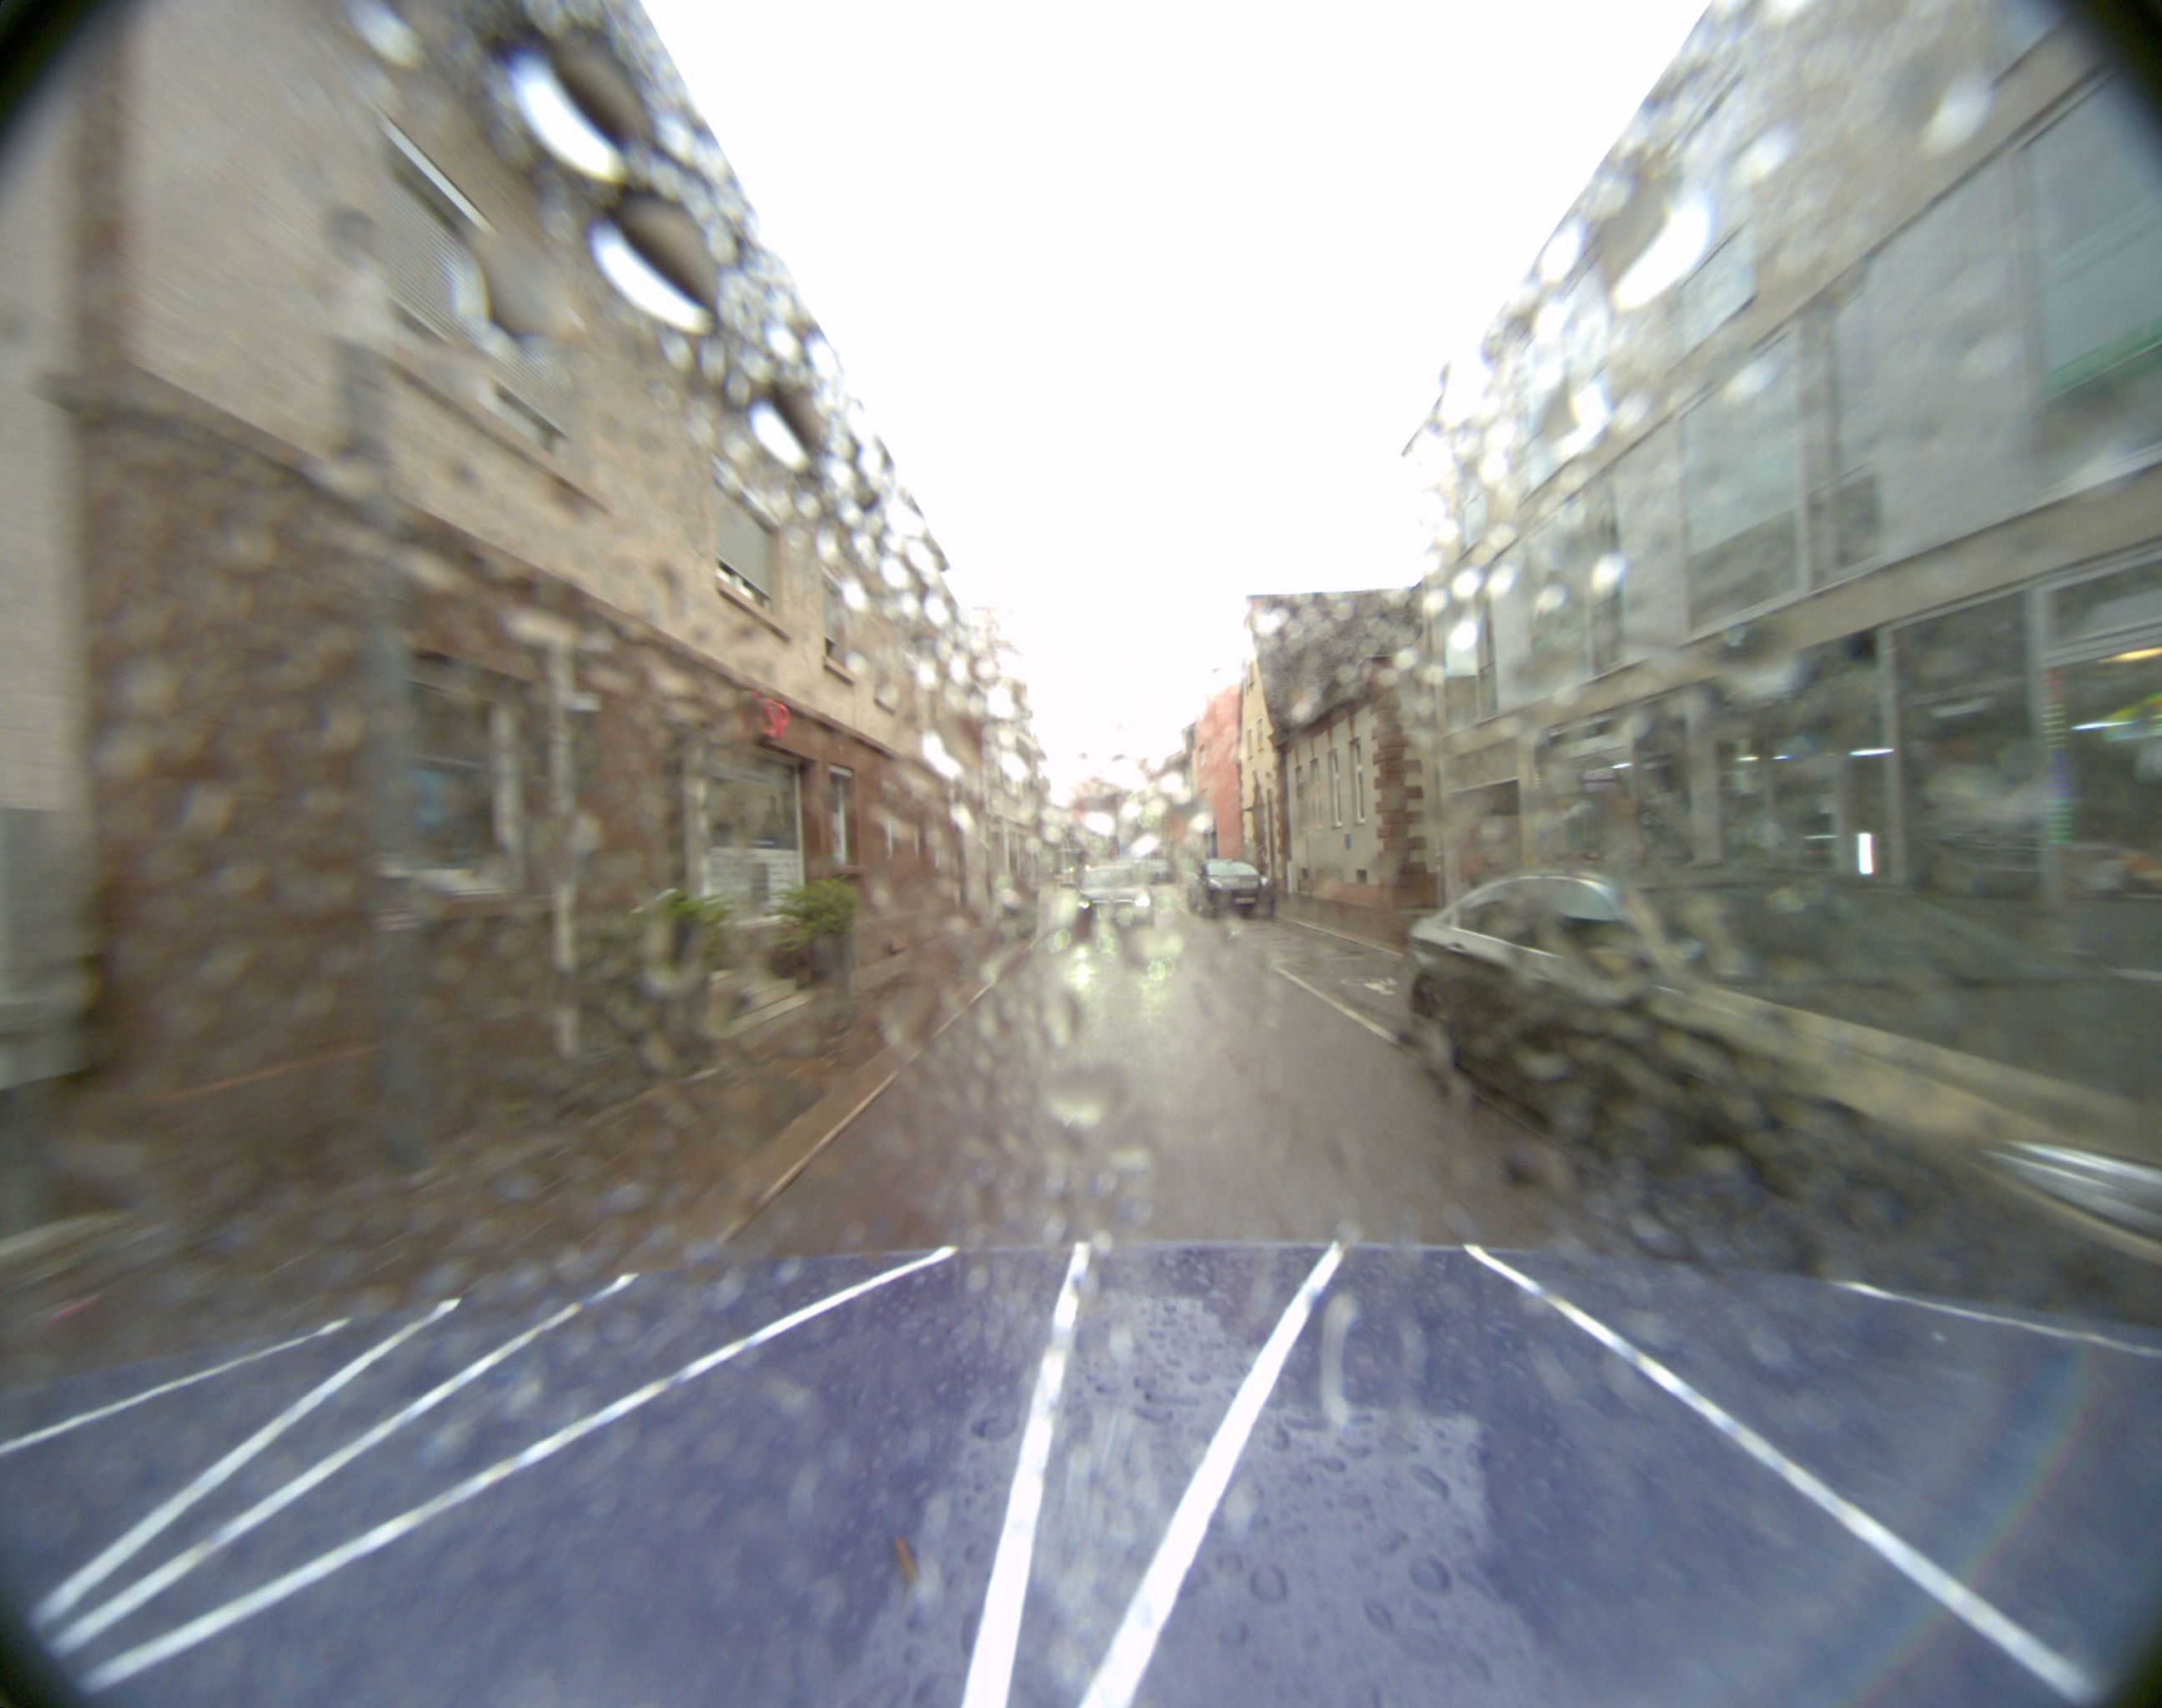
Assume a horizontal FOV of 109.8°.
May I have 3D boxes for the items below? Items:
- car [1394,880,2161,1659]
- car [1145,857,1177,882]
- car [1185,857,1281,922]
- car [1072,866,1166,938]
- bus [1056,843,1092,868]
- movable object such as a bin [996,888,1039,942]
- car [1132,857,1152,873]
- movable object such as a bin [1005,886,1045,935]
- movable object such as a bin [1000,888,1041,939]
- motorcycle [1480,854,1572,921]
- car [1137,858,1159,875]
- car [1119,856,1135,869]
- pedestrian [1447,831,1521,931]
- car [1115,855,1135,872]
[{"bbox_3d":[3.120,0.886,3.489,1.760,1.348,4.483,-2,-1,4],"label":"car"},{"bbox_3d":[4.811,0.918,45.897,1.631,1.359,3.490,-3,-1,2],"label":"car"},{"bbox_3d":[4.004,0.890,20.596,1.739,1.516,3.931,-2,0,0],"label":"car"},{"bbox_3d":[0.984,1.067,18.405,1.946,1.394,4.421,-2,0,5],"label":"car"},{"bbox_3d":[-1.041,0.270,101.253,2.614,3.175,7.365,-2,0,-18],"label":"bus"},{"bbox_3d":[-1.281,1.234,15.540,0.733,1.016,0.639,-3,0,4],"label":"movable object such as a bin"},{"bbox_3d":[5.446,0.975,67.940,1.631,1.359,3.490,-3,-1,2],"label":"car"},{"bbox_3d":[-1.239,1.244,16.910,0.733,1.016,0.639,-3,0,4],"label":"movable object such as a bin"},{"bbox_3d":[-1.280,1.264,16.245,0.733,1.016,0.639,-3,0,4],"label":"movable object such as a bin"},{"bbox_3d":[9.006,0.667,15.400,1.510,1.283,0.536,-2,0,2],"label":"motorcycle"},{"bbox_3d":[5.547,1.029,63.347,1.631,1.359,3.490,-3,-1,2],"label":"car"},{"bbox_3d":[5.114,0.917,84.159,1.631,1.359,3.490,-3,-1,2],"label":"car"},{"bbox_3d":[7.525,0.498,14.204,1.008,1.766,0.551,-4,1,7],"label":"pedestrian"},{"bbox_3d":[4.540,0.967,79.002,1.998,1.586,4.000,-2,0,2],"label":"car"}]
